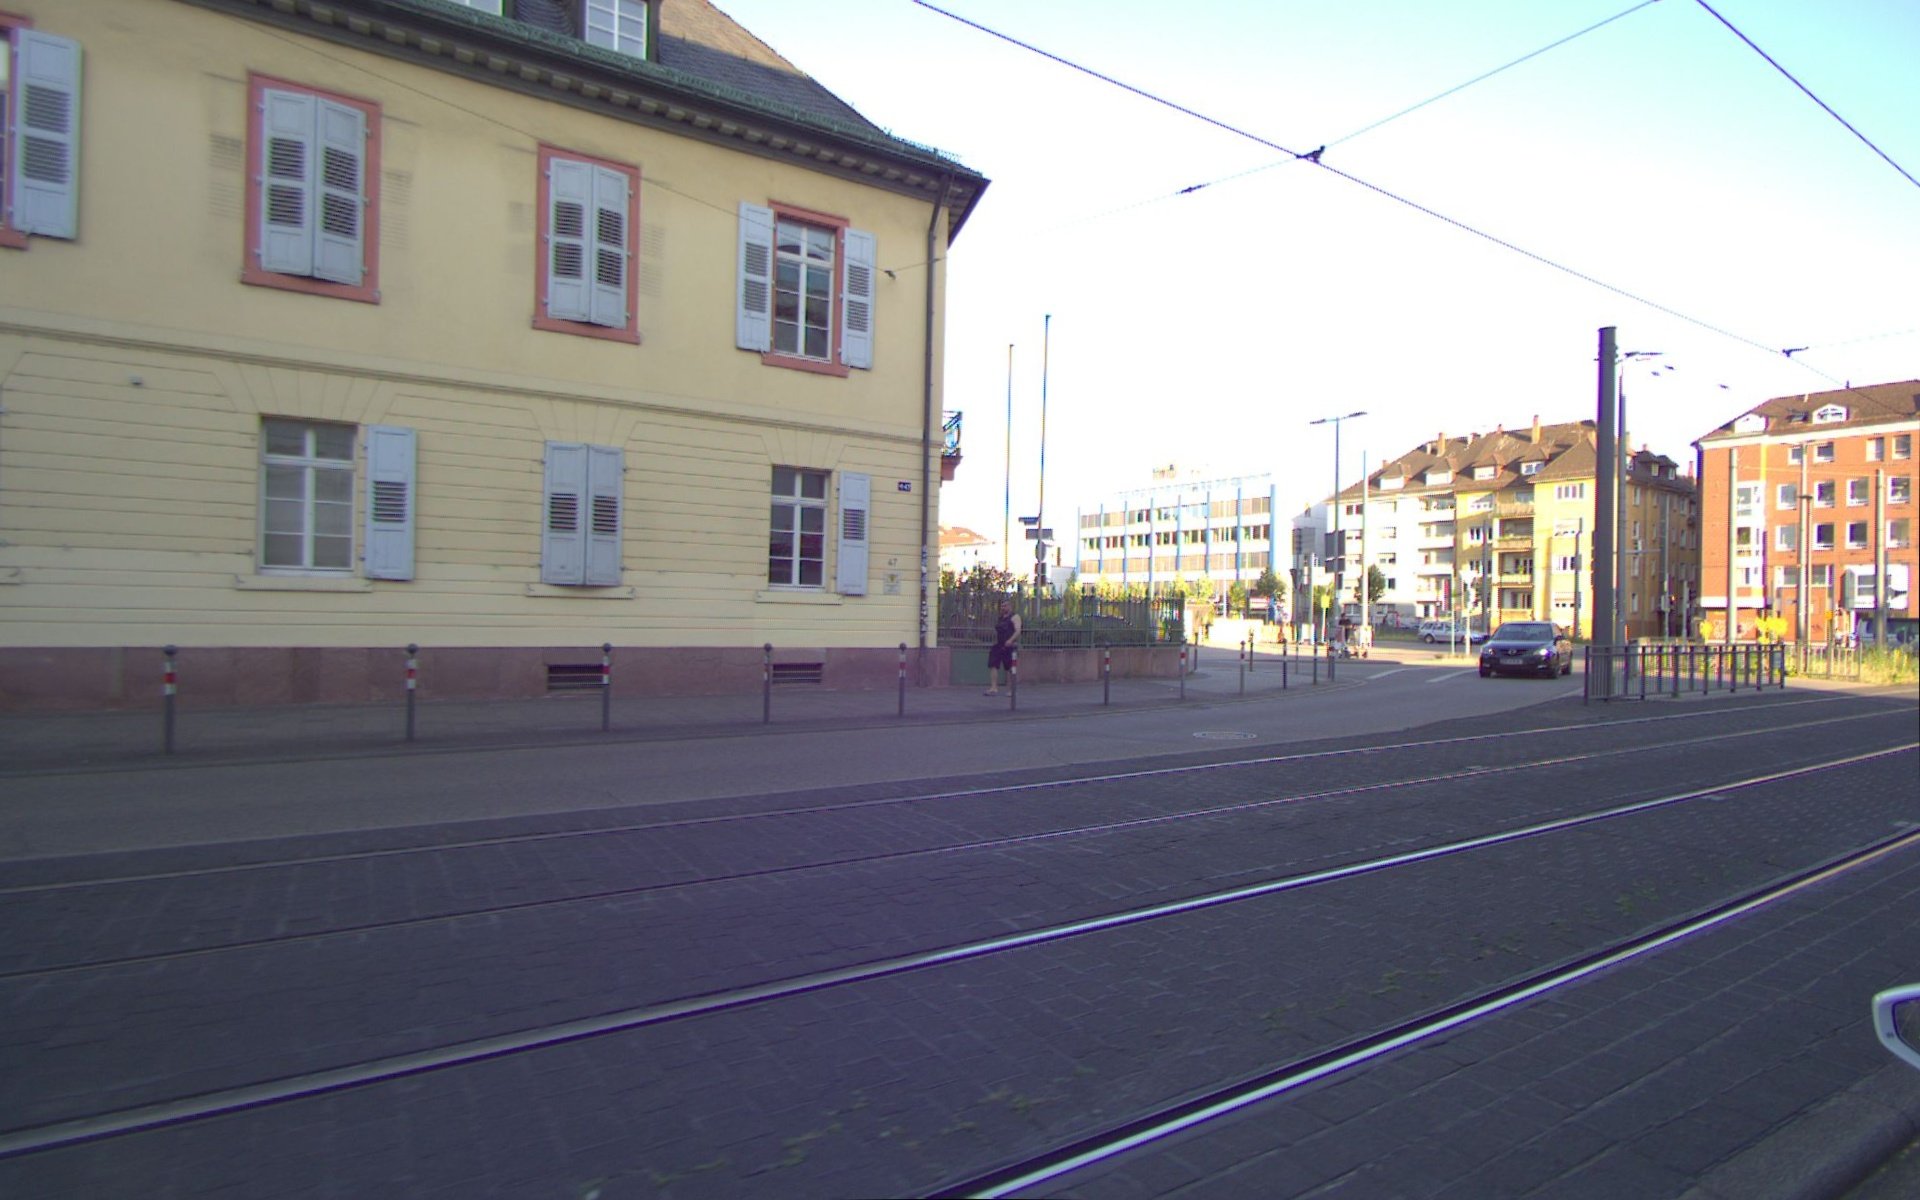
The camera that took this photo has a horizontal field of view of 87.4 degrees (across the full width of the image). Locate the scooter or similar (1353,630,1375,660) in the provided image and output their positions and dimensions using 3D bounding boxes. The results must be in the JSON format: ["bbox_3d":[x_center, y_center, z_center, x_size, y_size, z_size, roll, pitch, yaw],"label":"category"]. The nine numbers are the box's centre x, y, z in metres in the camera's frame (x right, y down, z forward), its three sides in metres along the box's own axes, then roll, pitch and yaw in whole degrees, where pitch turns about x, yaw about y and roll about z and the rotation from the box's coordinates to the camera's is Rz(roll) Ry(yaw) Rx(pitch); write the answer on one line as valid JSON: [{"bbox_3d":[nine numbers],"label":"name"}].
[{"bbox_3d":[15.833,1.752,39.370,0.420,1.097,1.619,3,1,34],"label":"scooter or similar"}]

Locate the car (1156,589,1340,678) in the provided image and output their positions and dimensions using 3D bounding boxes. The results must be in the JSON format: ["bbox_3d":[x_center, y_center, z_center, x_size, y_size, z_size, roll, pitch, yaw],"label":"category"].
[{"bbox_3d":[7.131,0.776,25.058,3.944,2.040,1.988,0,-1,43],"label":"car"}]

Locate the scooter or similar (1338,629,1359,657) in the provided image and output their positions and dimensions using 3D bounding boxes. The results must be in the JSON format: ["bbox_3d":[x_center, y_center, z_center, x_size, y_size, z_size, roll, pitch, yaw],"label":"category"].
[{"bbox_3d":[15.359,1.686,39.695,0.420,1.077,1.619,3,1,34],"label":"scooter or similar"}]

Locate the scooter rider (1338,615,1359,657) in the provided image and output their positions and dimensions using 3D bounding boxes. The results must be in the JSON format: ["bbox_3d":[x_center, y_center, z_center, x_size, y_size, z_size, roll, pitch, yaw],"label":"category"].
[{"bbox_3d":[15.461,1.419,39.958,0.577,1.614,0.655,3,1,38],"label":"scooter rider"}]

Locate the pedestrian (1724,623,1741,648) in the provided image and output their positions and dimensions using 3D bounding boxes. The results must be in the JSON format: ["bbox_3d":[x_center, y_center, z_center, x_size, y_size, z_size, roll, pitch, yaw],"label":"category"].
[{"bbox_3d":[57.585,2.646,74.855,0.657,1.766,0.688,3,0,-19],"label":"pedestrian"}]

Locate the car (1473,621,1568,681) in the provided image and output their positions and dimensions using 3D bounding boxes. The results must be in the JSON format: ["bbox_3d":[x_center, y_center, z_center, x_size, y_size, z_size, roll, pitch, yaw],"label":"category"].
[{"bbox_3d":[14.753,1.287,26.330,1.743,1.394,4.209,1,-1,35],"label":"car"}]

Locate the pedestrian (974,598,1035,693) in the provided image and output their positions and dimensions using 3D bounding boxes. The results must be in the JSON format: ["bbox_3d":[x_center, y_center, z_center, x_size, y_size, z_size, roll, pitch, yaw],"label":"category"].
[{"bbox_3d":[0.751,0.760,16.976,0.712,1.556,0.714,2,-1,-35],"label":"pedestrian"}]

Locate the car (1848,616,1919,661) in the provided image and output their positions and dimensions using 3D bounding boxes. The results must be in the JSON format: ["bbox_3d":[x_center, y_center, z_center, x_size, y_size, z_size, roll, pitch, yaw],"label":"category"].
[{"bbox_3d":[44.516,1.796,46.804,4.635,2.040,1.988,0,-1,45],"label":"car"}]

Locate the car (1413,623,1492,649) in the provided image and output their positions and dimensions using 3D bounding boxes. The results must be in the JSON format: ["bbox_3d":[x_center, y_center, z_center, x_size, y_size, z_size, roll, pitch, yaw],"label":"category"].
[{"bbox_3d":[32.620,2.364,66.606,1.983,1.572,4.304,2,0,-38],"label":"car"}]
